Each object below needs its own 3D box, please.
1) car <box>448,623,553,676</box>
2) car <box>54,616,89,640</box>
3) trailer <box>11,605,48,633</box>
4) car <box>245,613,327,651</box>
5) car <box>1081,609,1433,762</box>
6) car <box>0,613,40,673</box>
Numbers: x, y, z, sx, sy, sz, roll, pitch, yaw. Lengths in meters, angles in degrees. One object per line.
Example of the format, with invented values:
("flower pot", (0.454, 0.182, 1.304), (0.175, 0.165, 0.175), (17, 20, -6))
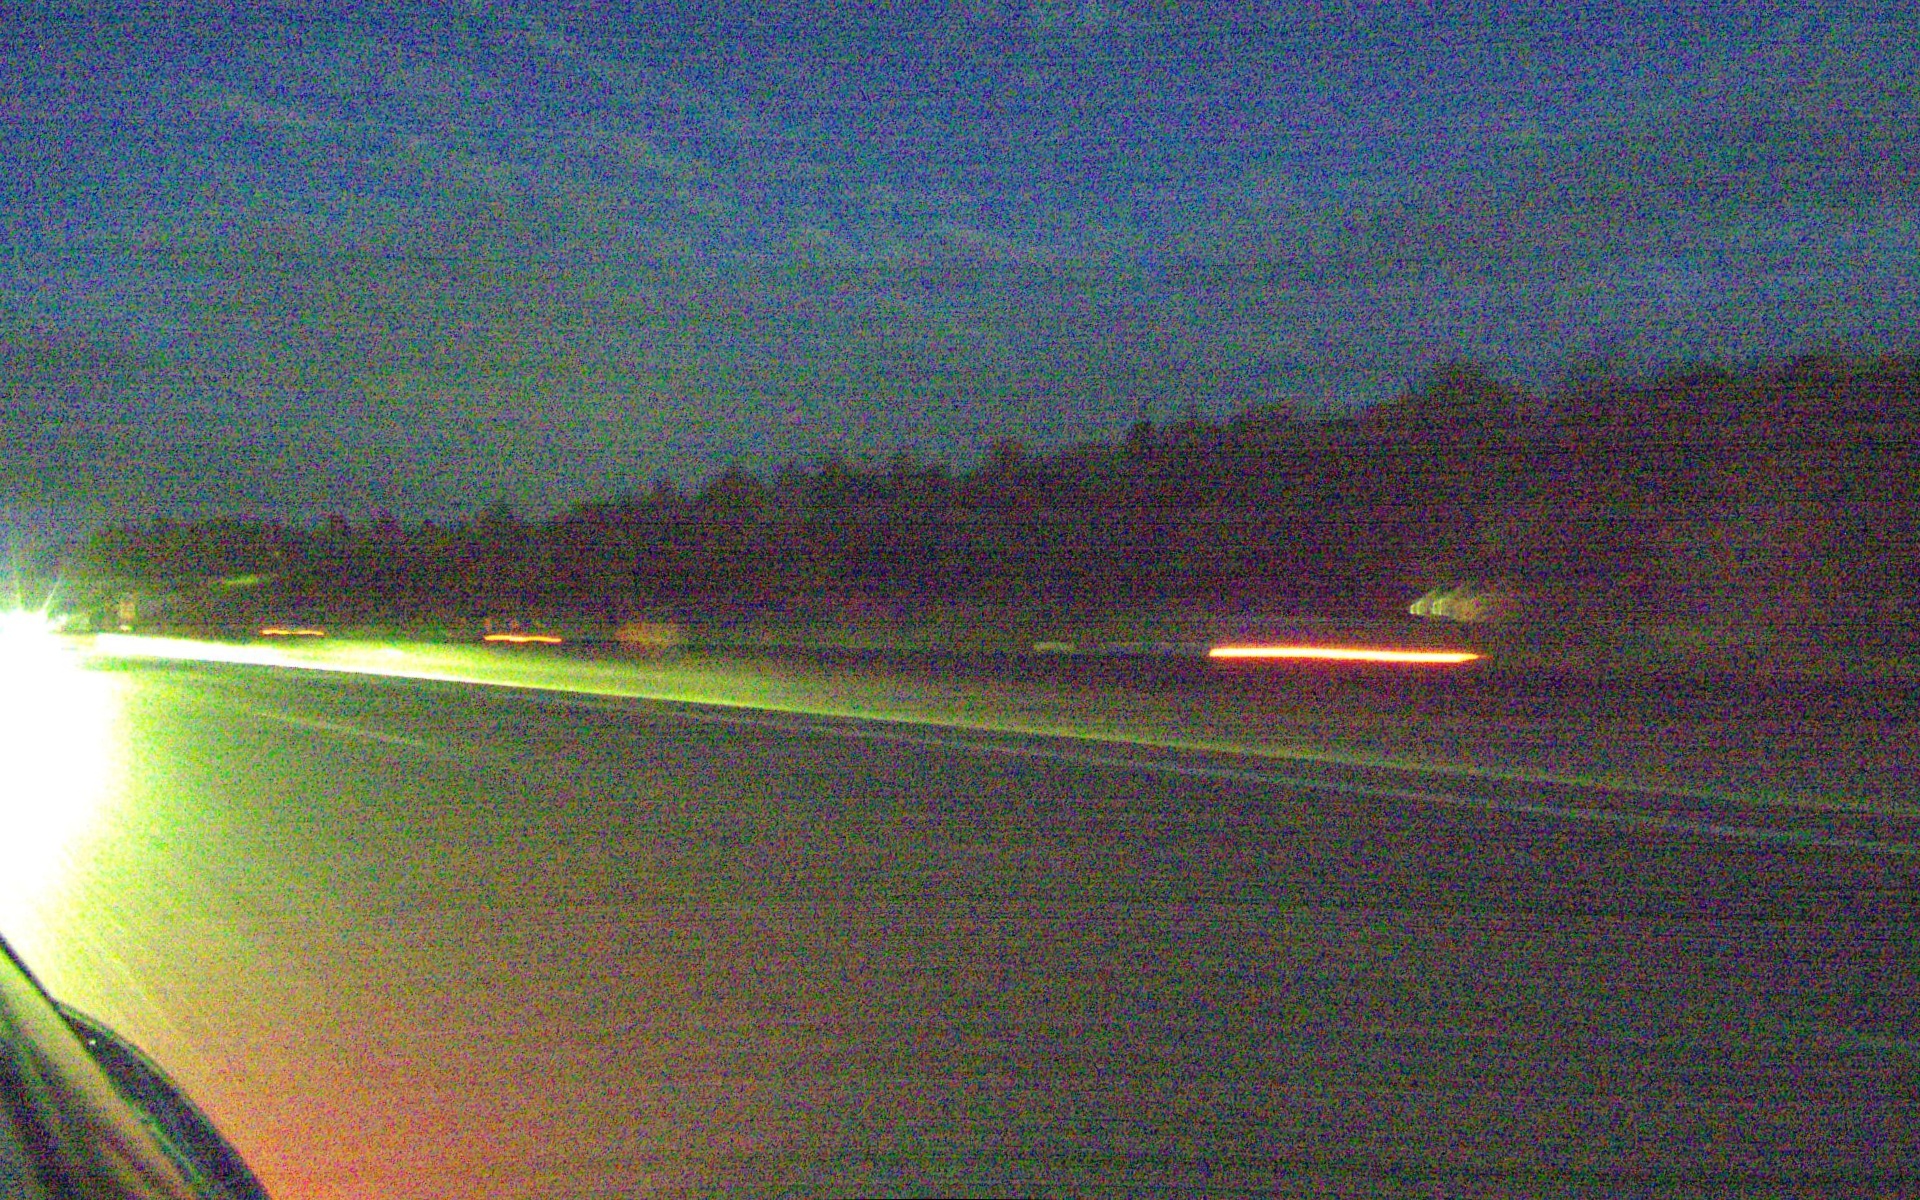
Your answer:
("car", (-18.798, 1.966, 41.312), (4.761, 1.970, 2.174), (-1, -1, 41))
("car", (-116.378, 3.628, 132.554), (7.134, 3.052, 2.467), (-1, -1, 40))
("trailer", (-146.314, 3.039, 159.056), (13.036, 4.265, 3.023), (-1, -1, 42))
("car", (-32.600, 1.529, 48.897), (4.761, 1.694, 2.174), (-1, -1, 41))
("car", (4.462, 1.173, 15.667), (4.761, 1.970, 2.174), (-1, -1, 41))
("car", (-30.411, 1.312, 31.513), (5.940, 1.734, 1.972), (-1, -1, 42))
